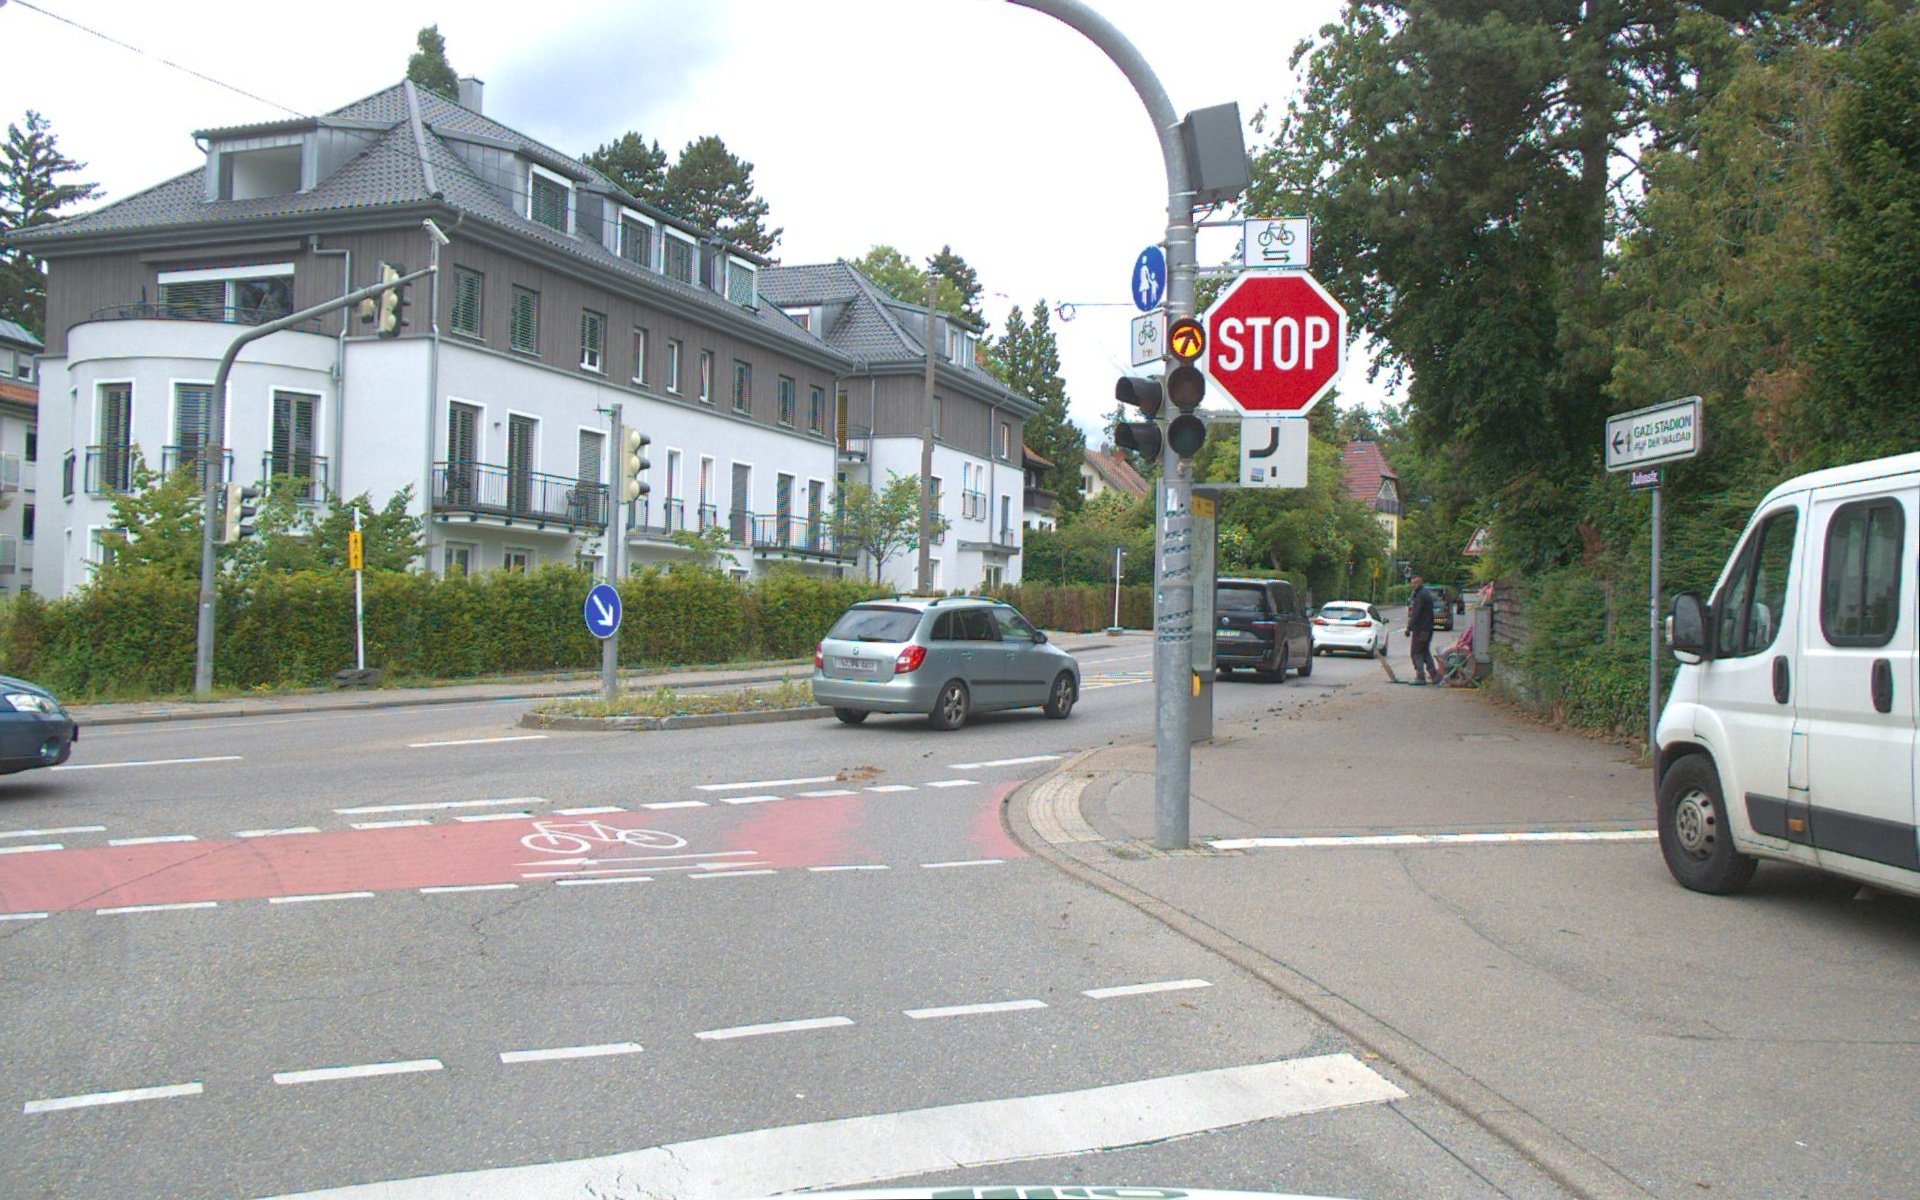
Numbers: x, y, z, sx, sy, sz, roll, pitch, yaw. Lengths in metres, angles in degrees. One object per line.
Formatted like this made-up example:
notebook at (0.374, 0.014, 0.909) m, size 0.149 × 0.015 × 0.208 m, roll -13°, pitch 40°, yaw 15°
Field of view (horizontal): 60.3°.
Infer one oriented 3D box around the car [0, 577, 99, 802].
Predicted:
car at (-8.556, 0.634, 11.183) m, size 4.688 × 1.554 × 1.783 m, roll 0°, pitch 0°, yaw -35°

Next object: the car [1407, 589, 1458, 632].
car at (21.672, 0.457, 75.820) m, size 1.899 × 1.857 × 4.078 m, roll 2°, pitch 1°, yaw 20°

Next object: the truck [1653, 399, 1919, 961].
truck at (4.990, 0.338, 6.459) m, size 2.162 × 2.283 × 5.723 m, roll 1°, pitch 0°, yaw 0°

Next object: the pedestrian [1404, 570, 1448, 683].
pedestrian at (8.114, 0.465, 28.805) m, size 0.584 × 1.940 × 0.558 m, roll 1°, pitch -1°, yaw -1°

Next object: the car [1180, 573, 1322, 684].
car at (5.765, 0.509, 32.283) m, size 1.879 × 1.927 × 4.909 m, roll 2°, pitch 1°, yaw 19°

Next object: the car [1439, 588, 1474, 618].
car at (32.837, 0.184, 109.328) m, size 1.899 × 1.857 × 4.078 m, roll 2°, pitch 1°, yaw 20°

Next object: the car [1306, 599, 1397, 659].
car at (10.666, 0.752, 44.886) m, size 1.803 × 1.485 × 4.078 m, roll 2°, pitch 1°, yaw 21°

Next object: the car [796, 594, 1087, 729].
car at (-0.131, 0.665, 19.911) m, size 1.665 × 1.455 × 3.736 m, roll -1°, pitch 0°, yaw 35°
